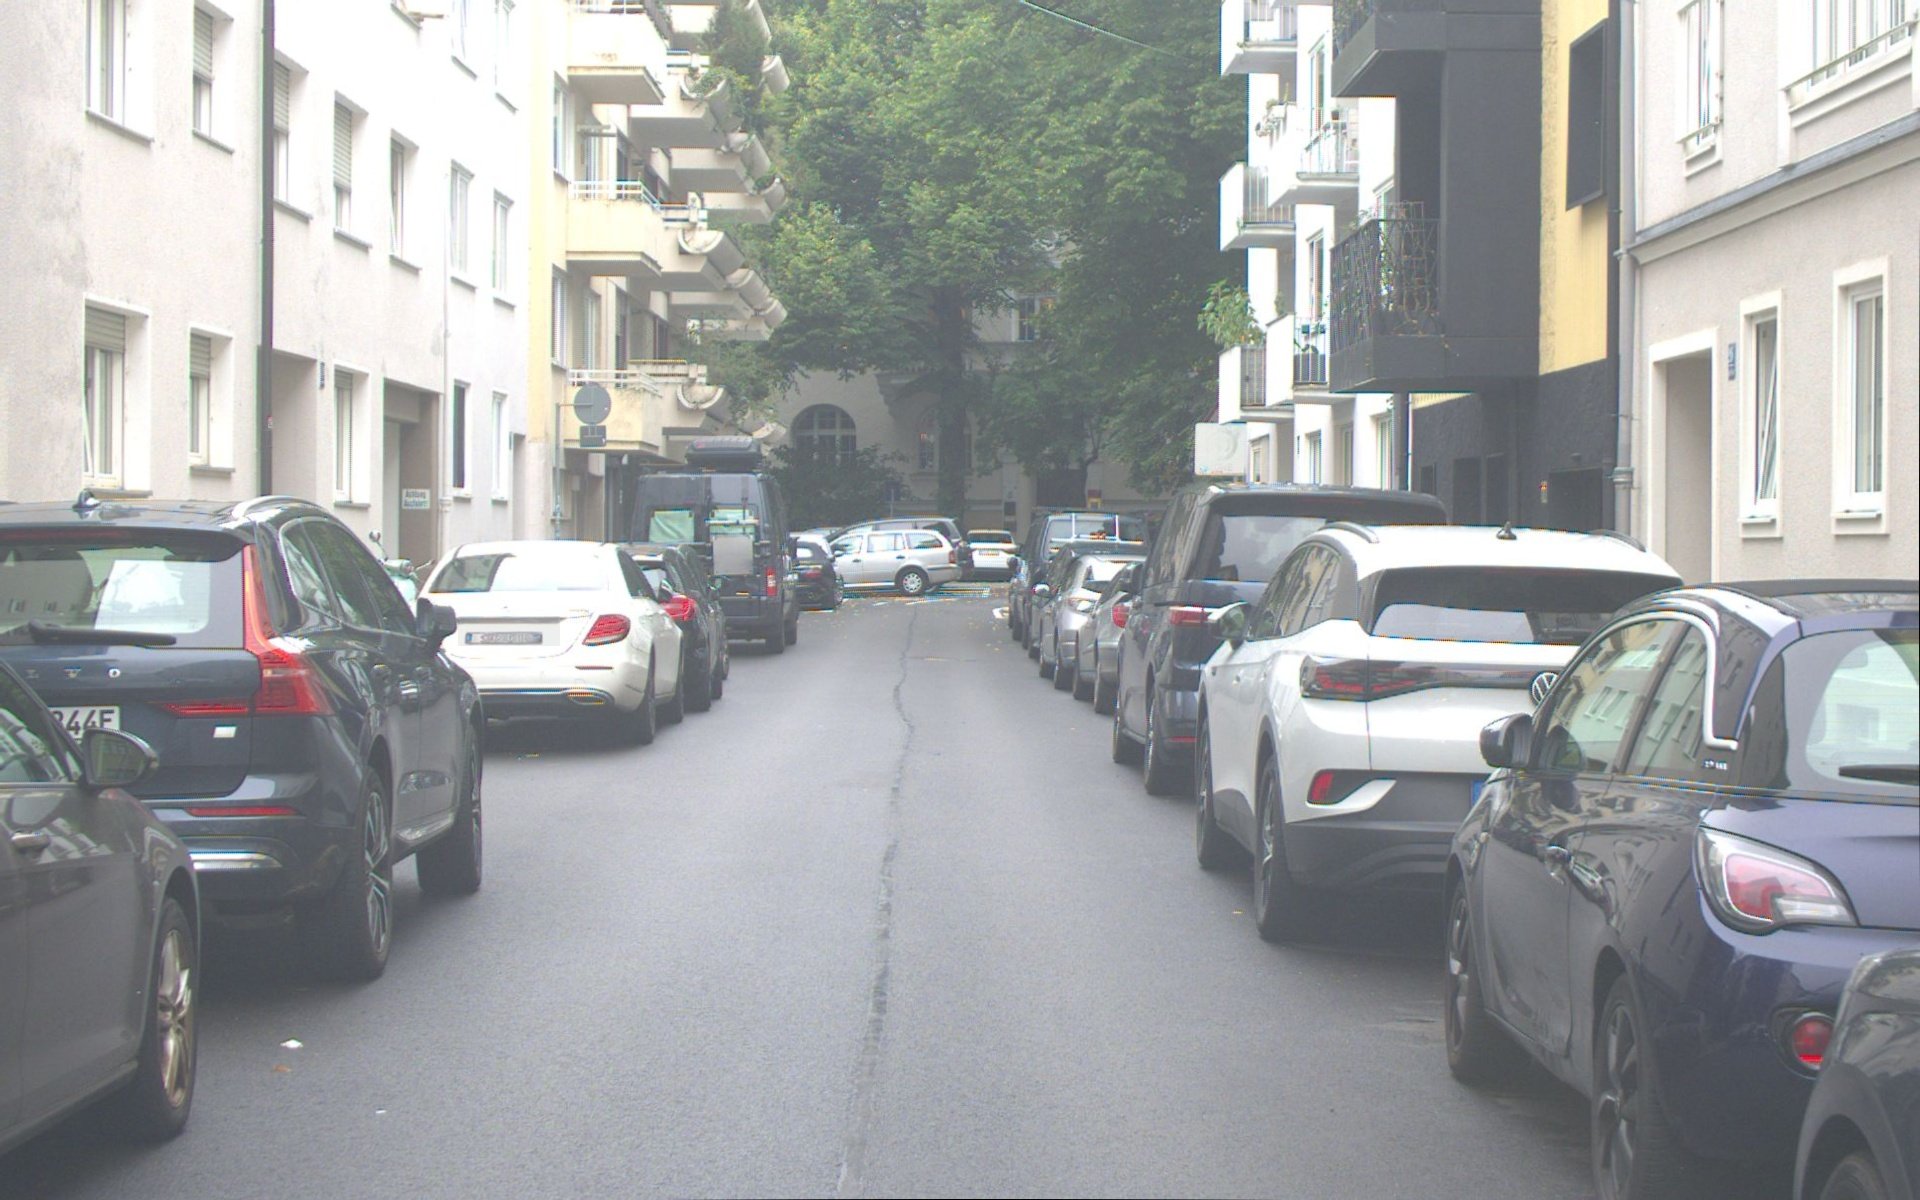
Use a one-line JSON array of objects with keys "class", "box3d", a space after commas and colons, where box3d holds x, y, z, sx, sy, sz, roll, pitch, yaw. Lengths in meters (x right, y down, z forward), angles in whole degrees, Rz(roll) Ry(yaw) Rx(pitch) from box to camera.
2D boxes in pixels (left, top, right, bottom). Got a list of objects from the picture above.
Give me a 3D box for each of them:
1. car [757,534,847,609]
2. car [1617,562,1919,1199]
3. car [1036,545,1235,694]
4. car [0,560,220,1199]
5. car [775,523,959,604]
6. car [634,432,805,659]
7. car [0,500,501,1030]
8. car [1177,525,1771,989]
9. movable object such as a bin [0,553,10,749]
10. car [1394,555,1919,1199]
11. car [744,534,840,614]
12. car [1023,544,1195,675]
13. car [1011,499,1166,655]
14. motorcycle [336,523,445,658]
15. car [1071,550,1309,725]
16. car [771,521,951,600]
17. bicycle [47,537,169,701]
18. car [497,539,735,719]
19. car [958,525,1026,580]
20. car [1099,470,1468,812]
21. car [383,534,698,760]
[{"class": "car", "box3d": [-3.112, -0.587, 68.214, 1.642, 1.379, 3.483, -2, 1, -1]}, {"class": "car", "box3d": [2.261, 0.753, 4.567, 1.750, 1.464, 4.343, 3, 1, -2]}, {"class": "car", "box3d": [1.888, 0.169, 38.227, 1.829, 1.449, 4.416, 3, 1, -1]}, {"class": "car", "box3d": [-2.743, 0.662, 7.086, 1.693, 1.437, 3.978, -1, 1, -2]}, {"class": "car", "box3d": [-2.010, -0.791, 74.313, 3.885, 1.579, 1.648, -2, 1, -2]}, {"class": "car", "box3d": [-3.138, -0.729, 45.653, 1.936, 2.792, 4.533, -2, 1, -1]}, {"class": "car", "box3d": [-2.861, 0.470, 12.798, 1.776, 1.623, 4.415, -1, 1, -1]}, {"class": "car", "box3d": [1.964, 0.512, 14.407, 1.682, 1.562, 4.416, 3, 1, -1]}, {"class": "movable object such as a bin", "box3d": [-7.106, 0.370, 23.205, 1.047, 1.332, 0.993, -2, 1, 2]}, {"class": "car", "box3d": [2.219, 0.675, 8.804, 1.664, 1.464, 3.819, 3, 1, 0]}, {"class": "car", "box3d": [-3.116, -0.505, 64.369, 1.642, 1.379, 3.483, -2, 1, -1]}, {"class": "car", "box3d": [1.828, 0.082, 43.494, 1.829, 1.449, 4.416, 3, 1, -1]}, {"class": "car", "box3d": [1.760, -0.354, 48.568, 1.829, 1.992, 4.416, 3, 1, -1]}, {"class": "motorcycle", "box3d": [-5.905, -0.121, 35.790, 0.680, 1.345, 2.486, 1, 1, 1]}, {"class": "car", "box3d": [2.130, 0.303, 32.994, 1.829, 1.449, 4.416, 3, 1, -1]}, {"class": "car", "box3d": [-2.187, -0.876, 76.249, 3.885, 1.579, 1.648, -2, 1, -2]}, {"class": "bicycle", "box3d": [-6.265, 0.117, 25.355, 0.396, 1.064, 2.133, 2, 3, -1]}, {"class": "car", "box3d": [-3.050, 0.212, 31.191, 1.776, 1.448, 4.046, -2, 1, -1]}, {"class": "car", "box3d": [0.823, -1.270, 91.243, 1.642, 1.379, 3.746, -2, 1, -1]}, {"class": "car", "box3d": [1.960, 0.189, 22.066, 1.829, 1.903, 4.416, 2, 1, -1]}, {"class": "car", "box3d": [-3.069, 0.282, 25.987, 1.777, 1.482, 4.519, -2, 1, 0]}]
